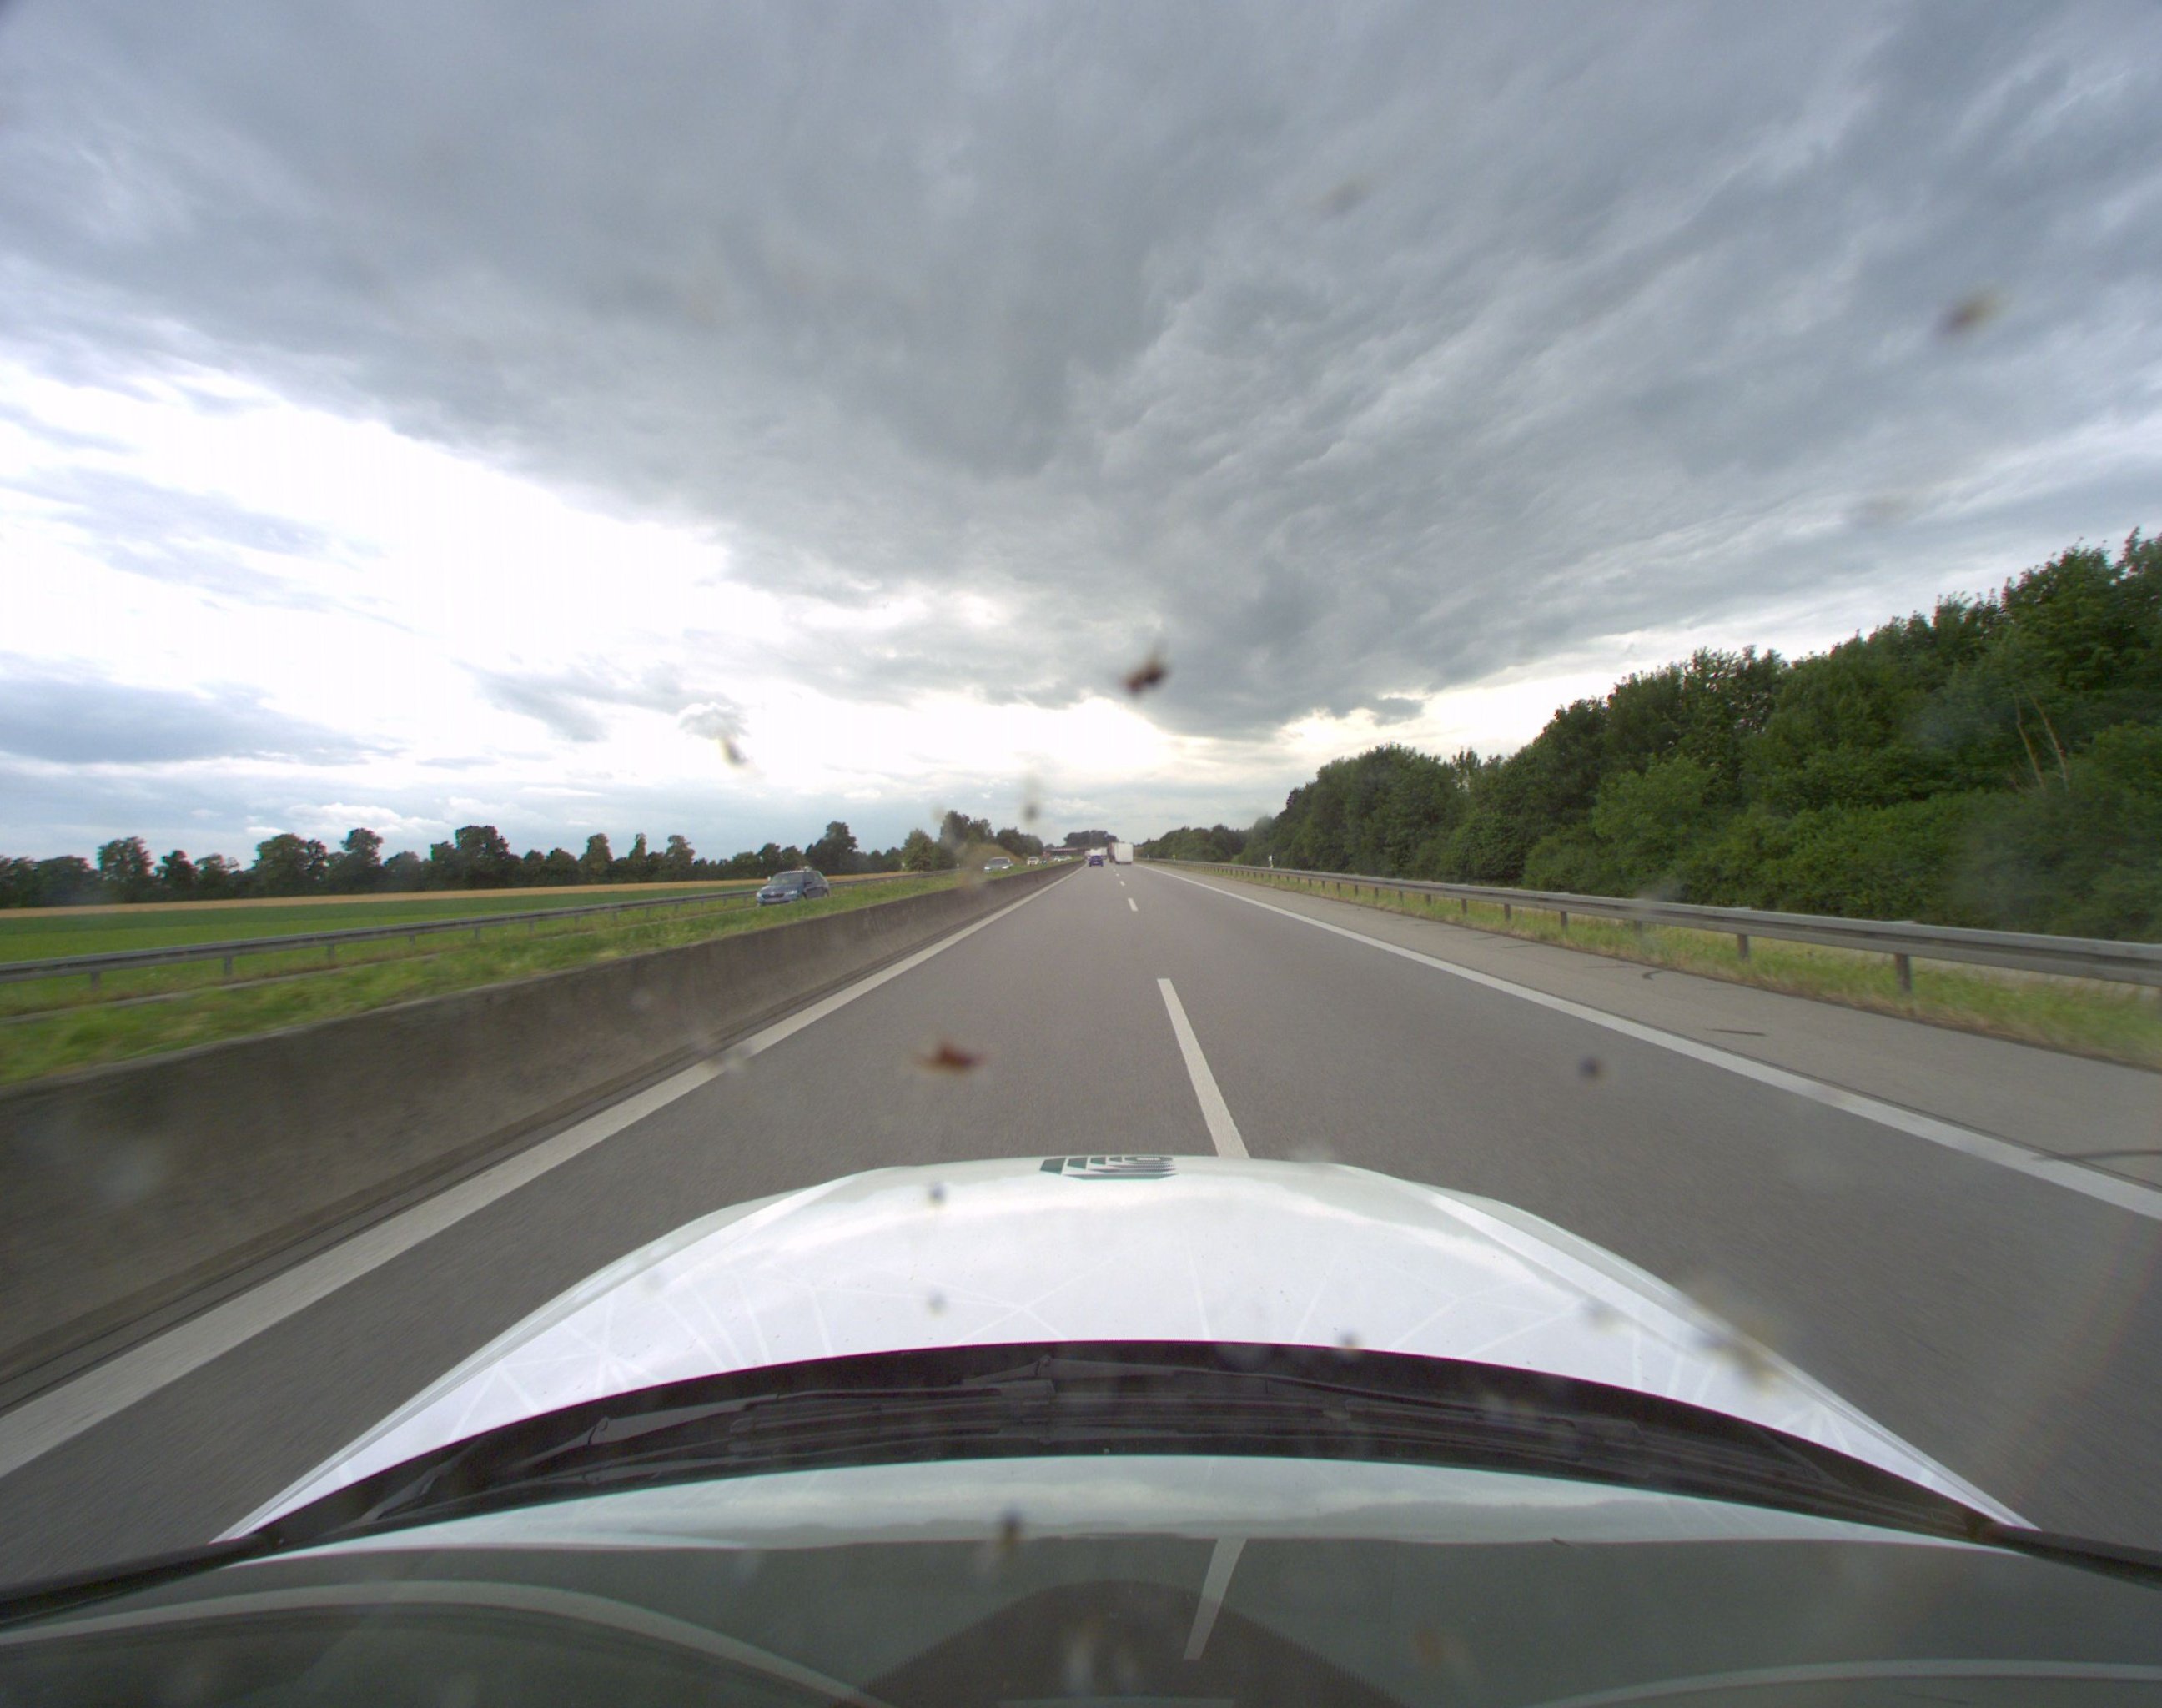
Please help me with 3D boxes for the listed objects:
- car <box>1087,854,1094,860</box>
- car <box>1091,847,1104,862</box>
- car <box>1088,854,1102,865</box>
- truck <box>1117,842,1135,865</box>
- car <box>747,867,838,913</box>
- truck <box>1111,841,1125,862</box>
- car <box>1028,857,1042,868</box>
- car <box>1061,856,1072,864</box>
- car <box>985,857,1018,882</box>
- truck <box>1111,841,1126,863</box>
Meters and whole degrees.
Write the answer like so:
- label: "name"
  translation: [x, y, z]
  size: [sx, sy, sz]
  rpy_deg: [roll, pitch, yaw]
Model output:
- label: "car"
  translation: [3.033, 0.906, 251.816]
  size: [1.989, 1.684, 3.996]
  rpy_deg: [-1, 0, -3]
- label: "car"
  translation: [2.945, 0.076, 142.807]
  size: [2.123, 2.482, 5.840]
  rpy_deg: [-2, 0, 1]
- label: "car"
  translation: [1.791, 0.686, 101.770]
  size: [1.658, 1.407, 3.648]
  rpy_deg: [-1, 0, 0]
- label: "truck"
  translation: [6.758, -0.038, 122.904]
  size: [2.406, 3.222, 7.147]
  rpy_deg: [-1, 0, 2]
- label: "car"
  translation: [-11.073, 1.332, 31.634]
  size: [1.740, 1.487, 4.531]
  rpy_deg: [-4, 0, 2]
- label: "truck"
  translation: [7.515, -0.496, 165.220]
  size: [2.663, 4.045, 5.515]
  rpy_deg: [-2, 0, 2]
- label: "car"
  translation: [-7.678, 1.423, 136.428]
  size: [1.829, 1.626, 4.692]
  rpy_deg: [-4, 0, 1]
- label: "car"
  translation: [-2.995, 1.238, 171.499]
  size: [1.940, 1.694, 5.175]
  rpy_deg: [-4, 0, 1]
- label: "car"
  translation: [-5.907, 1.156, 60.776]
  size: [1.834, 1.694, 4.359]
  rpy_deg: [-4, 0, 1]
- label: "truck"
  translation: [7.291, -0.470, 159.802]
  size: [2.663, 4.045, 11.113]
  rpy_deg: [-2, 0, 2]
